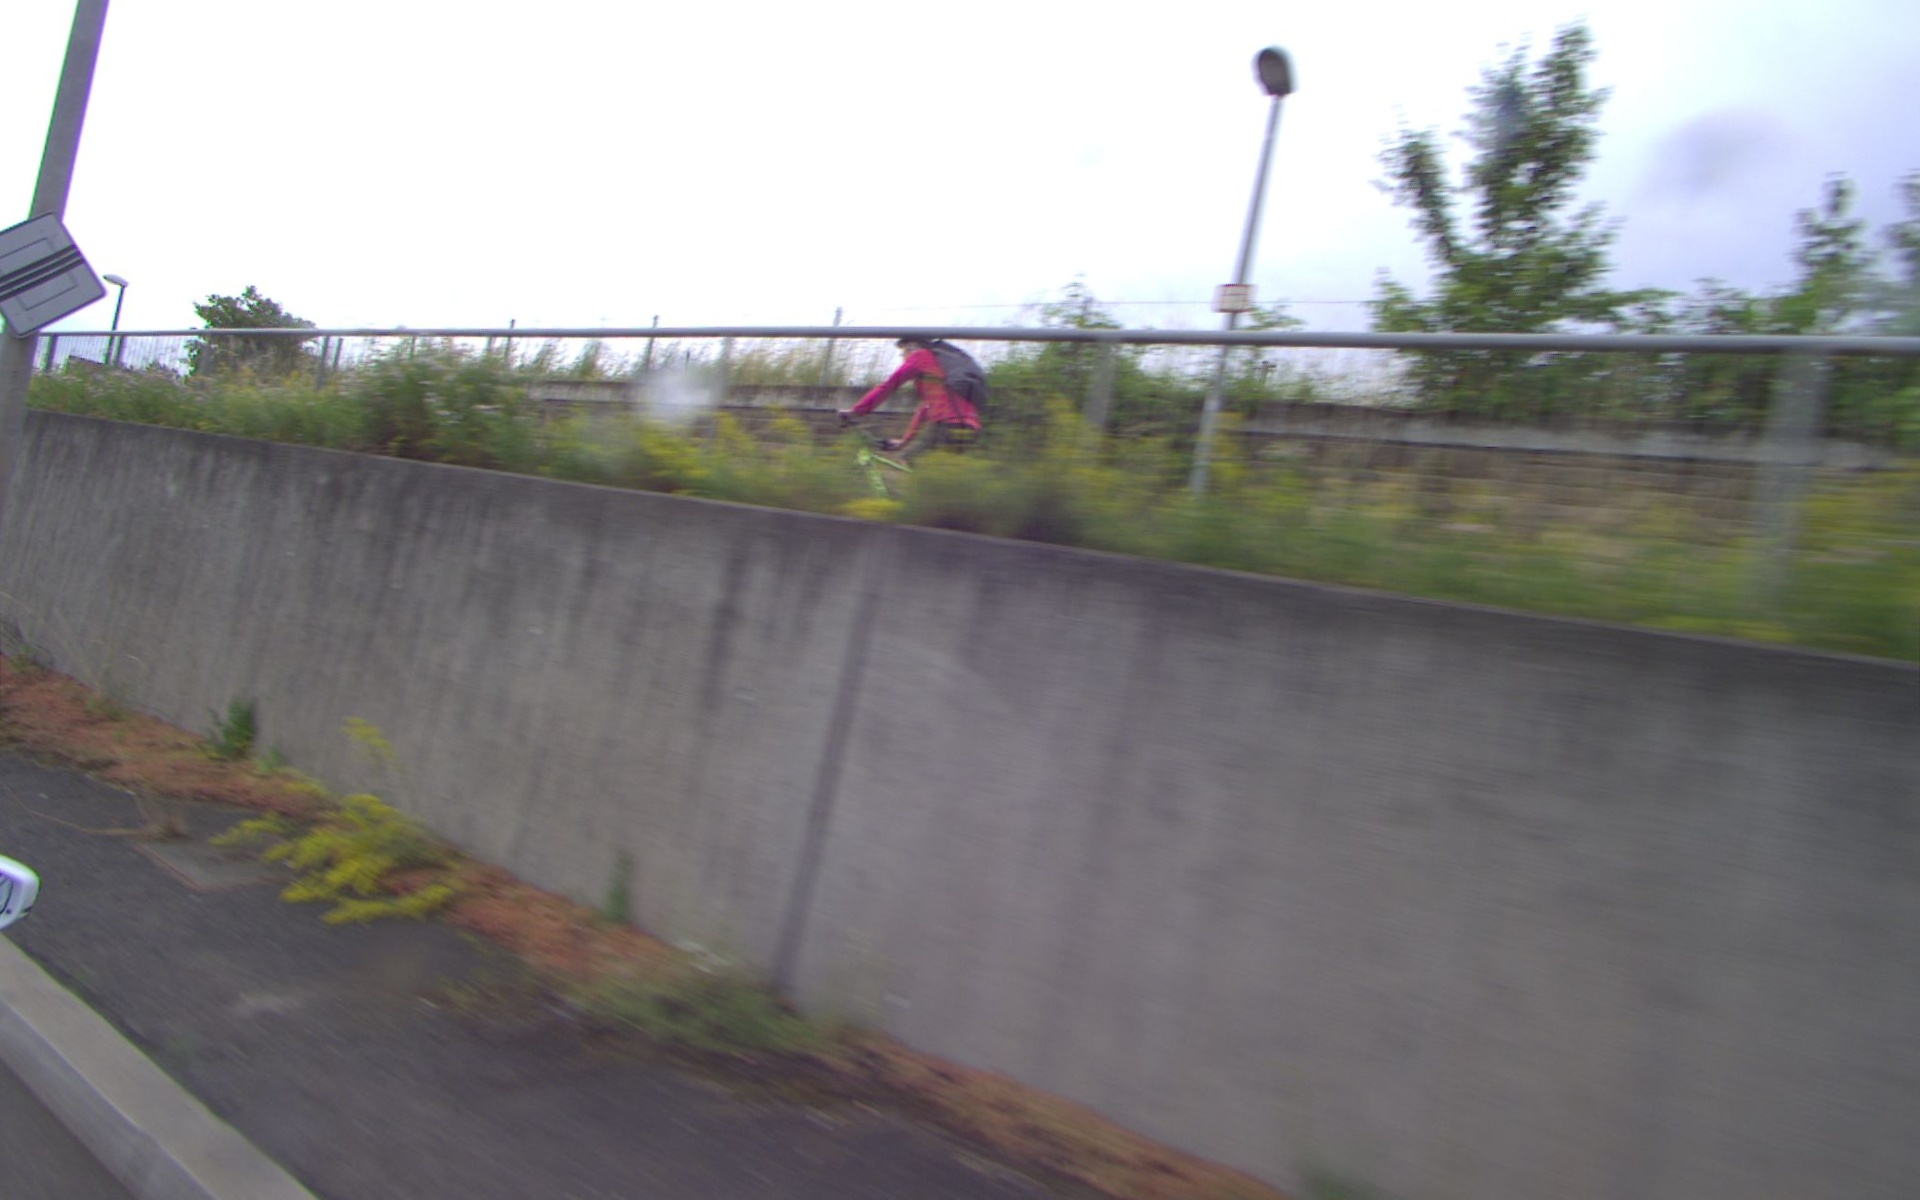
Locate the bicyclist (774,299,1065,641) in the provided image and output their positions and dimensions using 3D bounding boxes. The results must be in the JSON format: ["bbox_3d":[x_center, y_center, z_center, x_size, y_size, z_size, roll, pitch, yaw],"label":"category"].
[{"bbox_3d":[-0.252,-0.843,6.553,1.272,1.928,0.872,11,-2,31],"label":"bicyclist"}]

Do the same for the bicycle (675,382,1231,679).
[{"bbox_3d":[-0.181,-0.527,6.459,3.428,1.301,0.872,11,-2,31],"label":"bicycle"}]
